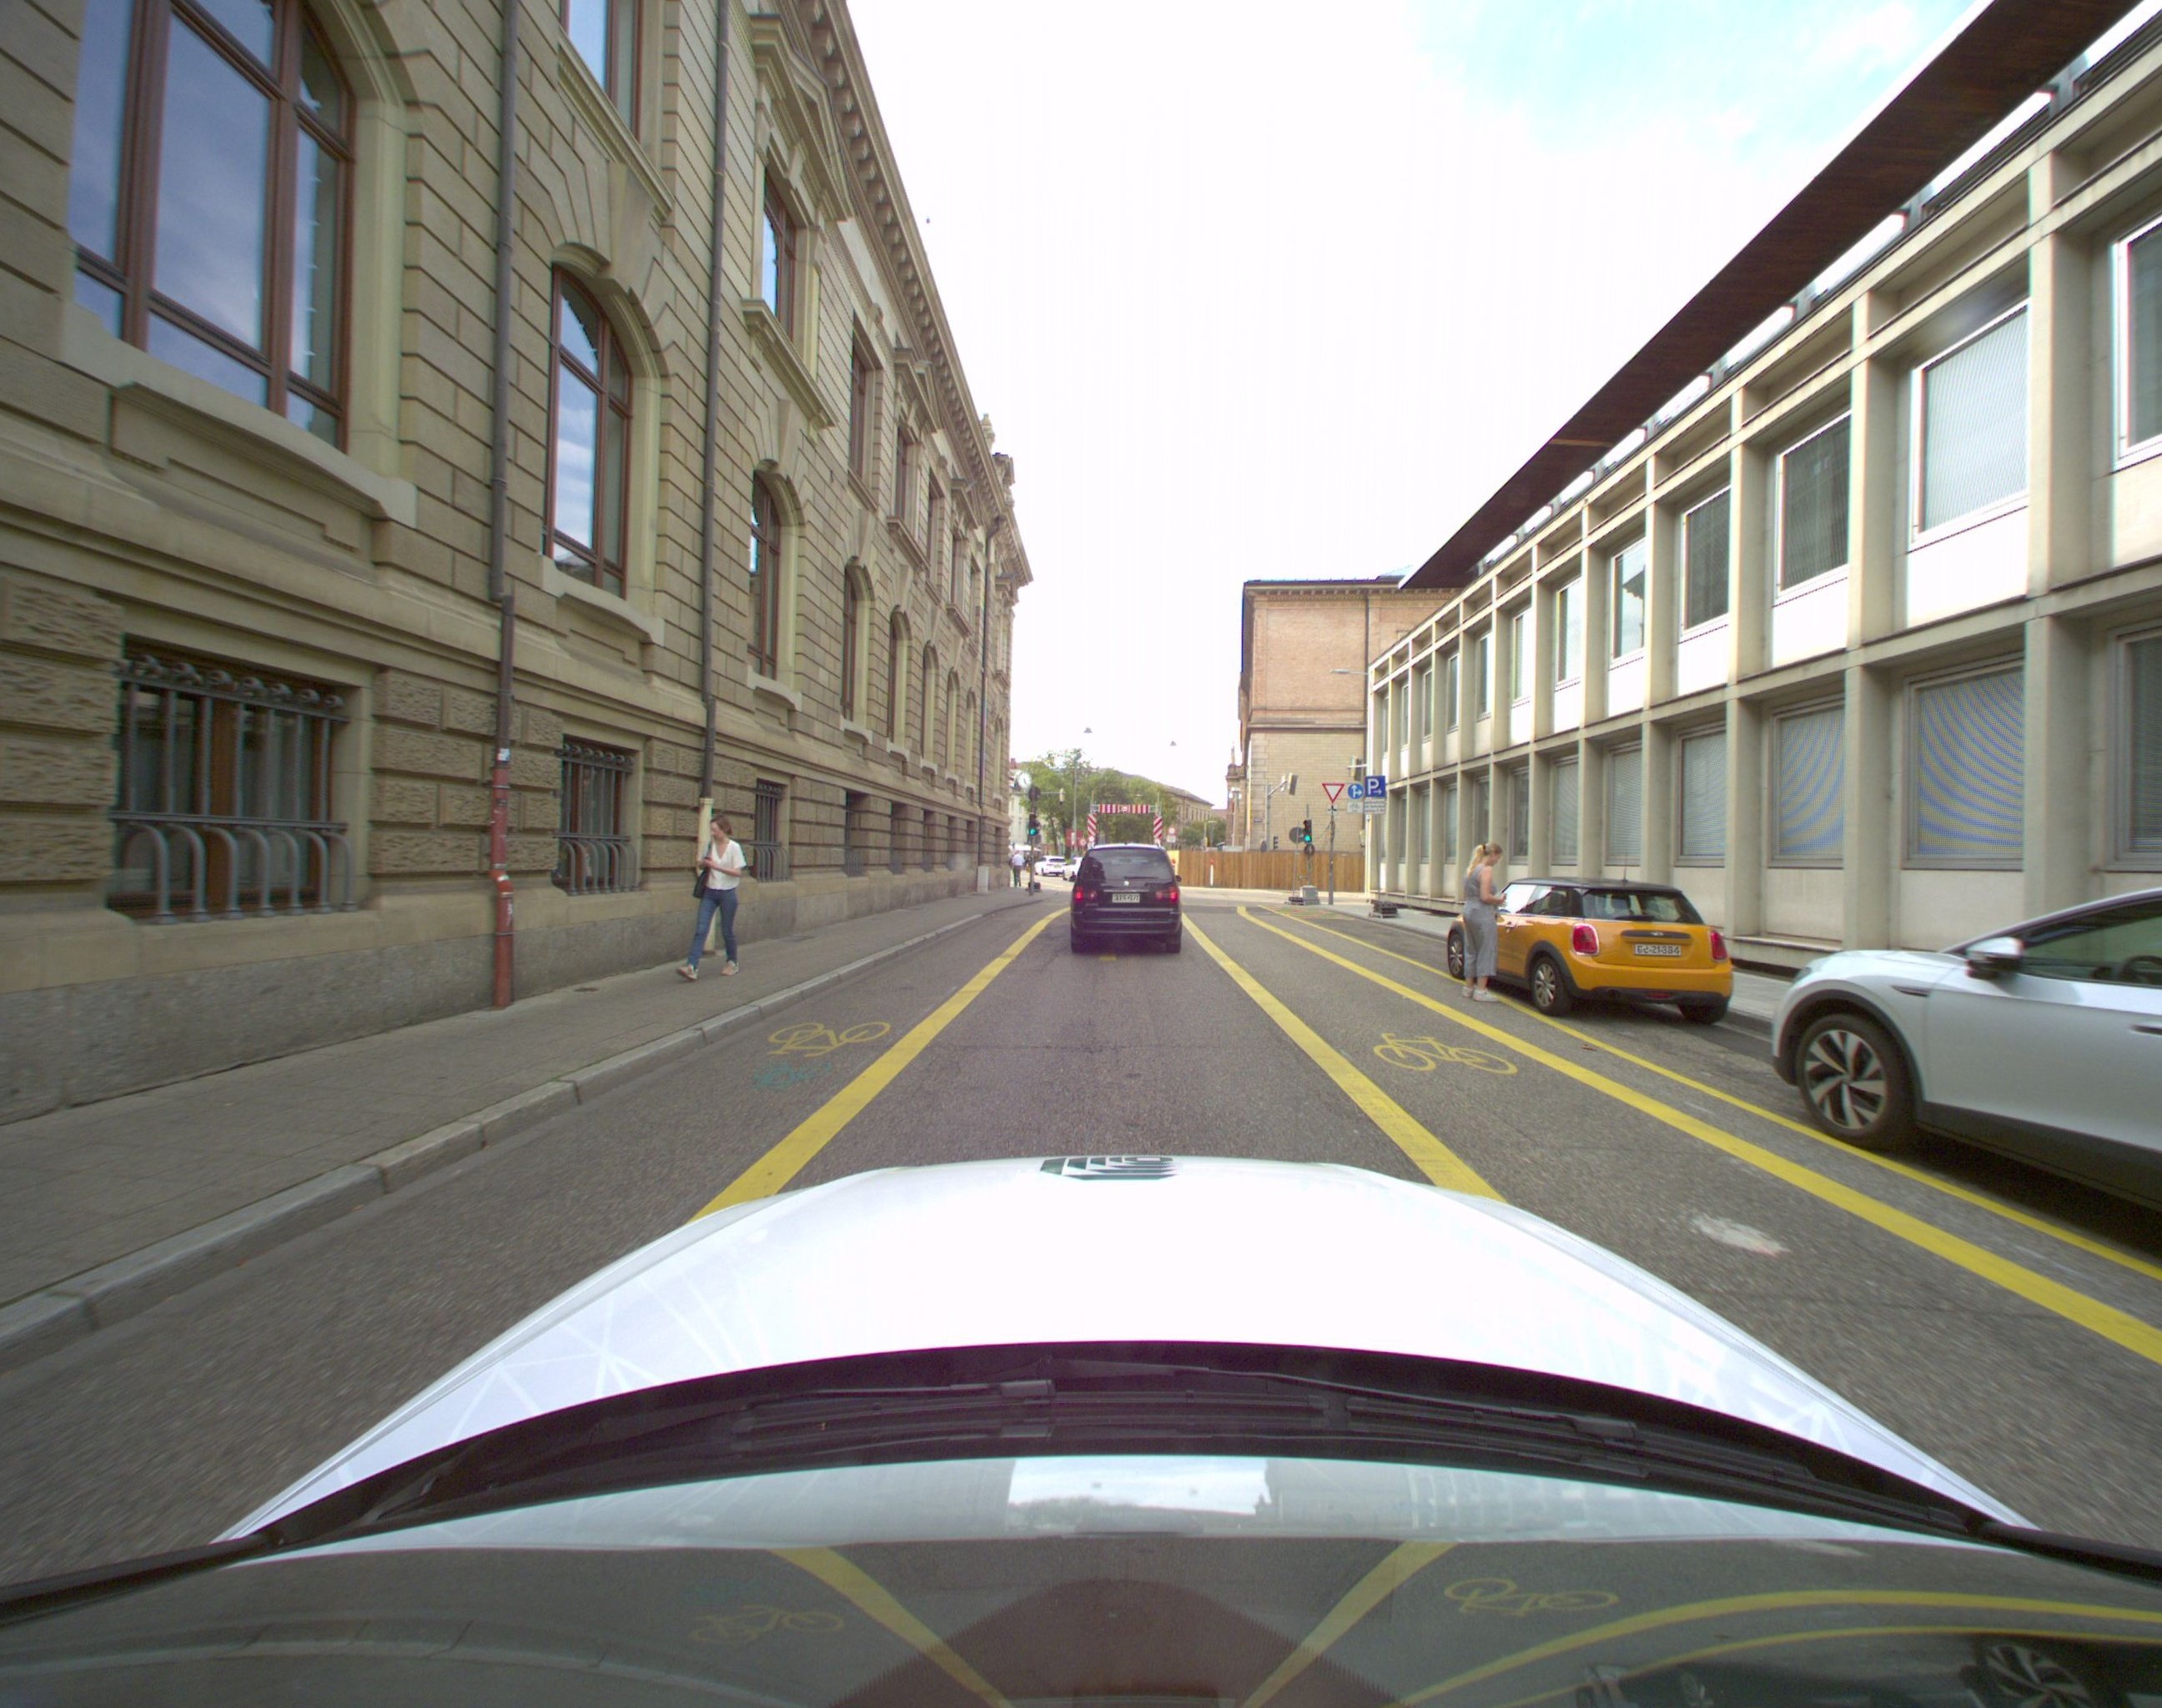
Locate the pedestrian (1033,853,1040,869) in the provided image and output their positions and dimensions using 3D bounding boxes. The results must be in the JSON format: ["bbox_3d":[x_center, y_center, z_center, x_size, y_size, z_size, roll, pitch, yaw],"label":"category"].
[{"bbox_3d":[-5.827,0.933,106.070,0.689,2.014,0.581,1,-1,-32],"label":"pedestrian"}]

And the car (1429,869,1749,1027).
[{"bbox_3d":[5.703,0.931,9.763,1.672,1.435,3.892,2,-1,5],"label":"car"}]

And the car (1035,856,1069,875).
[{"bbox_3d":[-2.048,0.809,57.318,1.652,1.321,3.657,1,-1,-15],"label":"car"}]

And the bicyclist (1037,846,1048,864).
[{"bbox_3d":[-3.757,0.101,79.236,0.962,1.782,0.986,1,-1,1],"label":"bicyclist"}]

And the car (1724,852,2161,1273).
[{"bbox_3d":[5.090,0.855,3.161,1.851,1.605,4.518,4,0,5],"label":"car"}]

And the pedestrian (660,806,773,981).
[{"bbox_3d":[-4.044,0.425,9.127,0.661,1.819,1.048,3,-1,2],"label":"pedestrian"}]

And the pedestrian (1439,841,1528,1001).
[{"bbox_3d":[4.623,0.741,9.392,0.695,1.764,0.706,1,-1,2],"label":"pedestrian"}]

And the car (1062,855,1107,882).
[{"bbox_3d":[0.177,0.822,47.854,1.706,1.501,3.980,1,-1,-14],"label":"car"}]

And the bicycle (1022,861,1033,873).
[{"bbox_3d":[-4.495,1.084,68.124,0.734,1.009,2.063,1,-1,-8],"label":"bicycle"}]

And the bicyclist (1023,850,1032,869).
[{"bbox_3d":[-4.476,0.447,68.095,0.735,1.611,0.693,1,-1,-9],"label":"bicyclist"}]

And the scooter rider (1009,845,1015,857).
[{"bbox_3d":[-8.457,-0.343,99.622,0.596,1.490,0.680,1,-1,6],"label":"scooter rider"}]

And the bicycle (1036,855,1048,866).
[{"bbox_3d":[-3.761,0.646,79.266,0.962,1.112,2.791,1,-1,1],"label":"bicycle"}]

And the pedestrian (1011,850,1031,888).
[{"bbox_3d":[-2.932,0.725,39.589,0.792,1.819,1.044,3,-1,-11],"label":"pedestrian"}]

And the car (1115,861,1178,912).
[{"bbox_3d":[2.009,0.983,25.947,1.672,1.469,4.103,1,-1,1],"label":"car"}]

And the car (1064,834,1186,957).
[{"bbox_3d":[0.839,0.635,14.164,1.781,1.790,4.109,1,-1,5],"label":"car"}]
